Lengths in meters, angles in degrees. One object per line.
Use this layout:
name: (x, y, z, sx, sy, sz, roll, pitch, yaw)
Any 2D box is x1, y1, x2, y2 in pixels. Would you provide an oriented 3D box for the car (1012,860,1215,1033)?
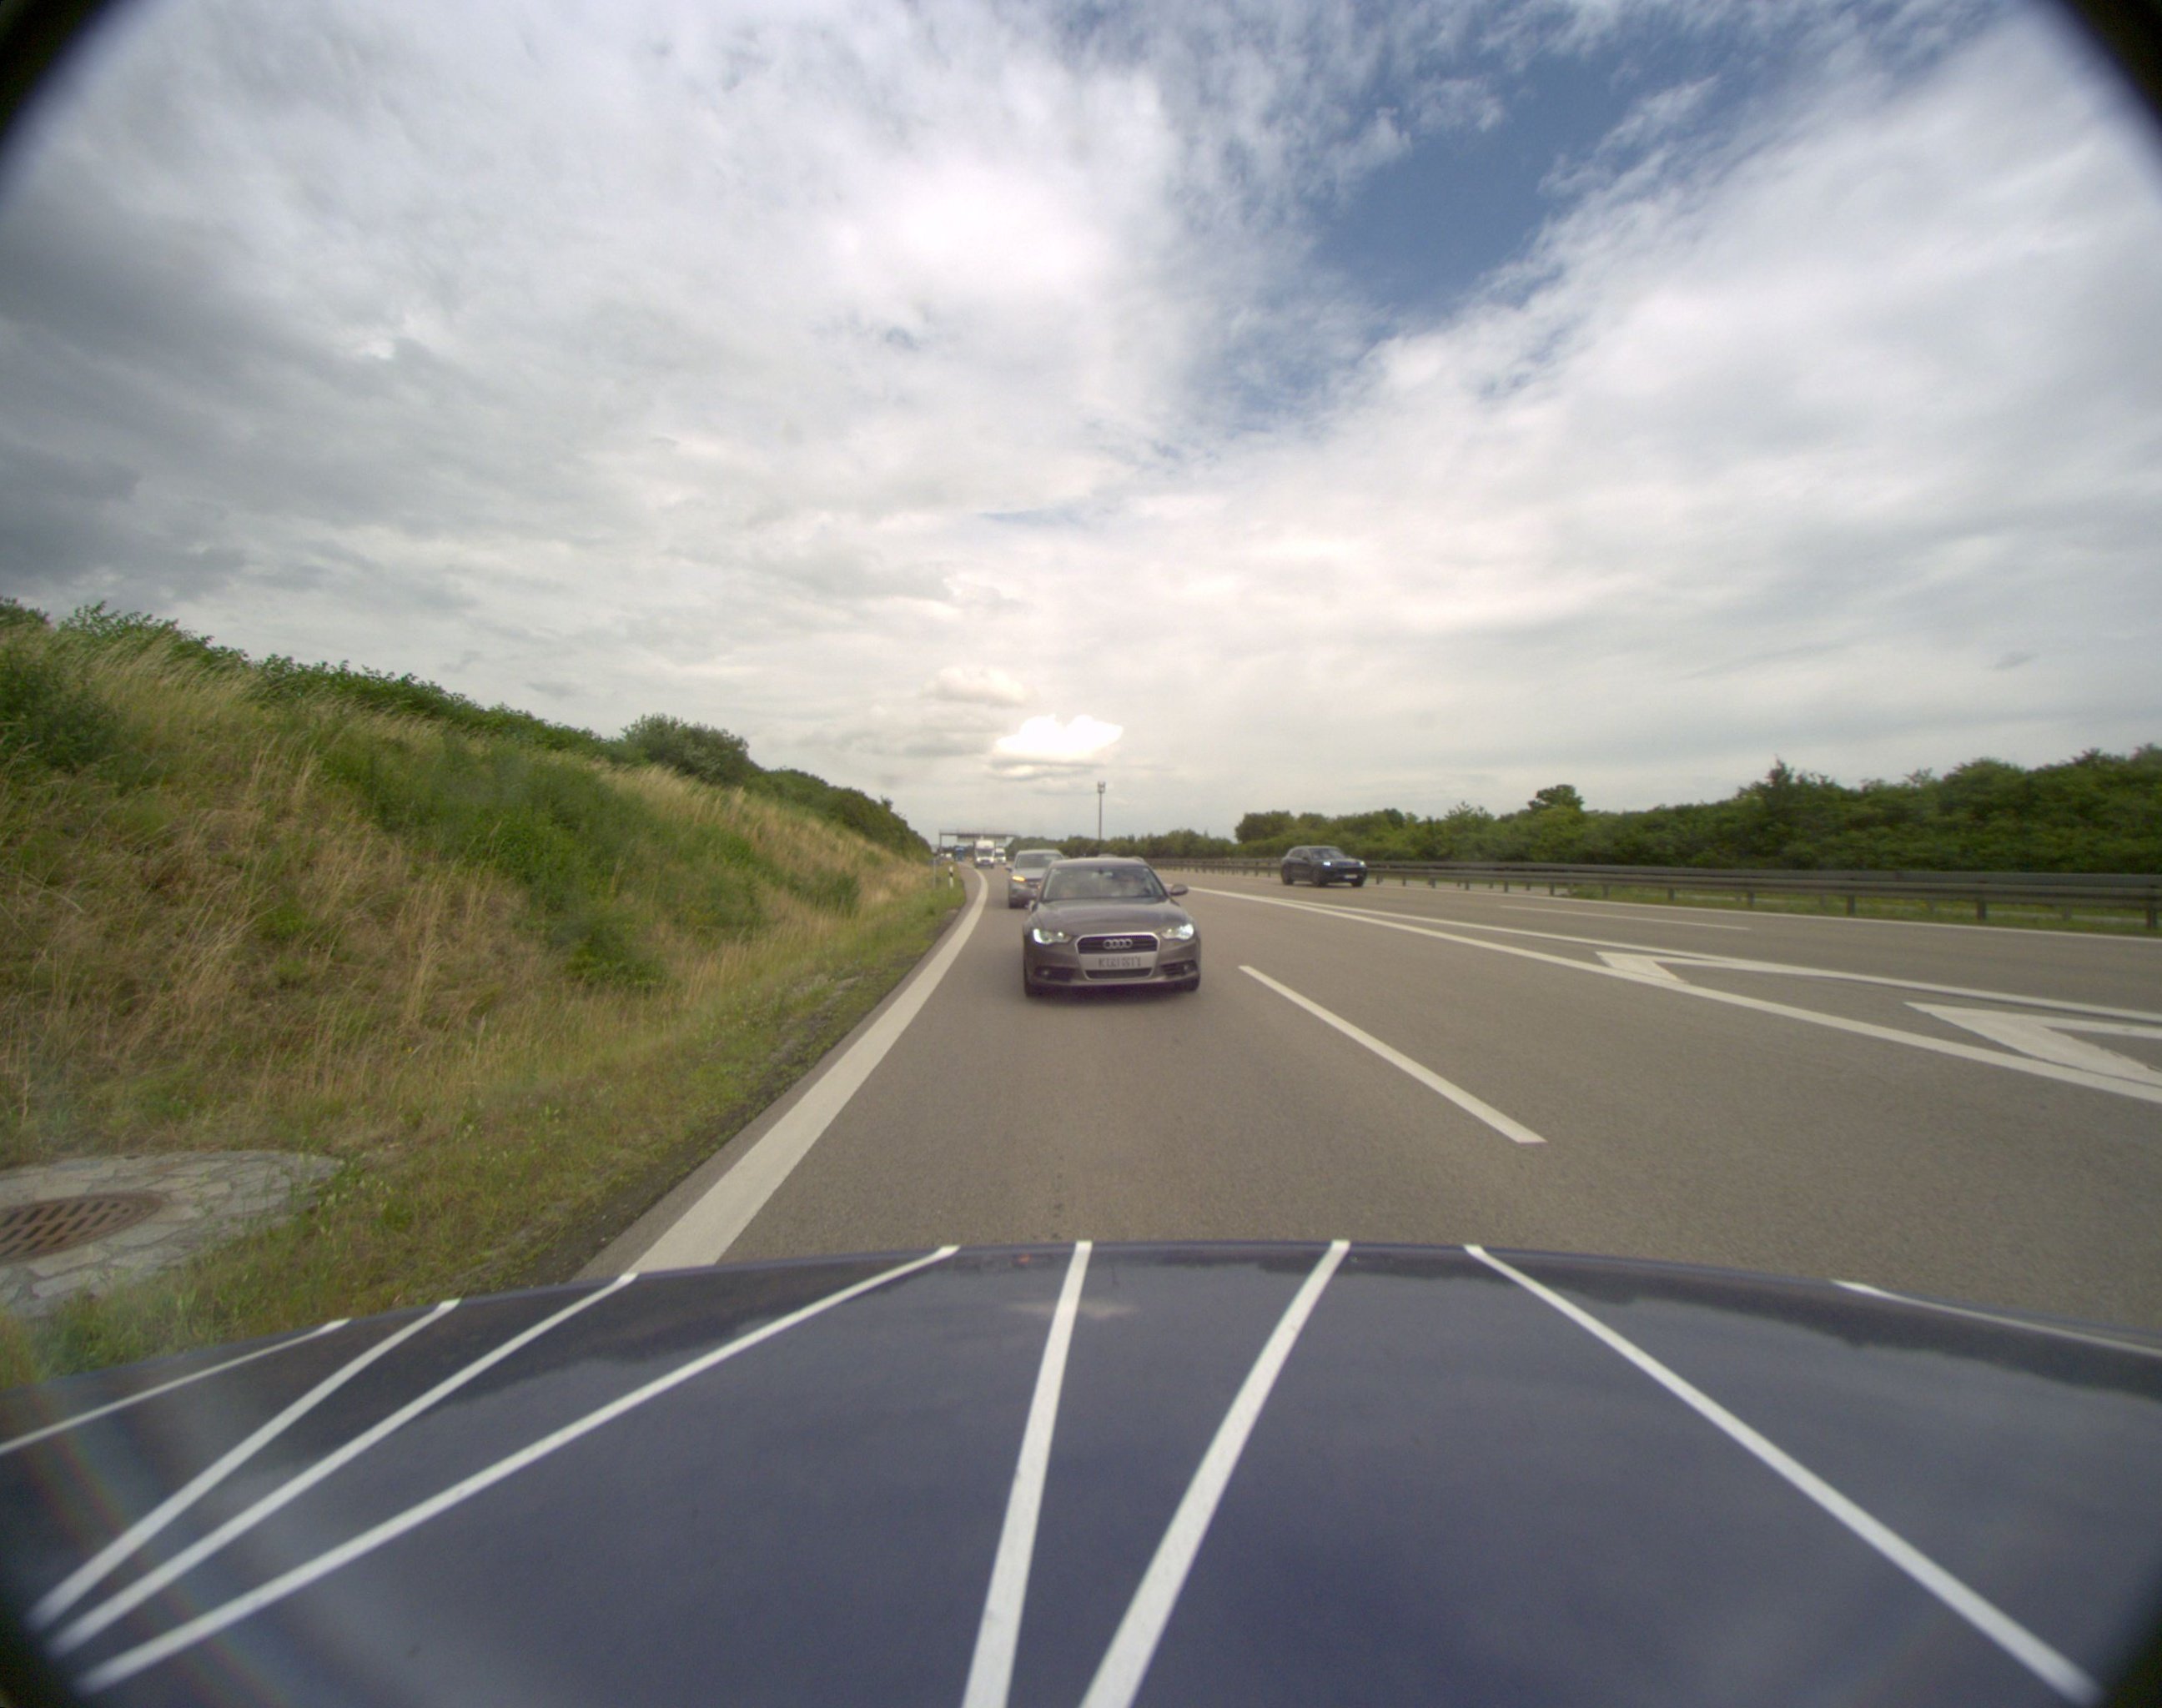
car: (0.225, 0.866, 9.037, 1.849, 1.489, 4.027, -1, 1, -2)

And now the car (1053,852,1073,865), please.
car: (-2.103, 0.497, 87.246, 1.723, 1.510, 3.996, 0, 0, -9)

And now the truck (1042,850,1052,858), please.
truck: (-8.733, -0.013, 196.079, 2.000, 2.002, 4.715, -1, 0, -9)

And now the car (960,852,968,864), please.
car: (-35.496, 1.122, 230.436, 2.506, 3.689, 7.694, 0, 0, -10)

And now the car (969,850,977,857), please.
car: (-28.545, -0.134, 199.995, 2.000, 2.002, 3.996, 0, 0, -9)

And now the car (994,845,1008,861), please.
car: (-13.075, -0.164, 124.049, 2.000, 2.381, 3.997, -2, 1, -7)

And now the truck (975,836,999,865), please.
truck: (-10.915, -0.428, 87.551, 2.450, 3.217, 7.185, -1, 0, -9)

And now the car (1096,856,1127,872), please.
car: (2.939, 0.929, 74.202, 2.000, 1.501, 4.774, 0, 0, -10)

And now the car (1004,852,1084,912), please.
car: (-1.185, 0.737, 22.303, 2.000, 1.567, 3.997, -1, 0, -8)

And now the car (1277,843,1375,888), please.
car: (10.158, 0.447, 31.943, 2.000, 1.733, 4.825, 0, 0, -8)

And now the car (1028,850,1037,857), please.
car: (-15.475, -0.215, 244.268, 2.170, 2.317, 6.671, -1, 0, -9)
